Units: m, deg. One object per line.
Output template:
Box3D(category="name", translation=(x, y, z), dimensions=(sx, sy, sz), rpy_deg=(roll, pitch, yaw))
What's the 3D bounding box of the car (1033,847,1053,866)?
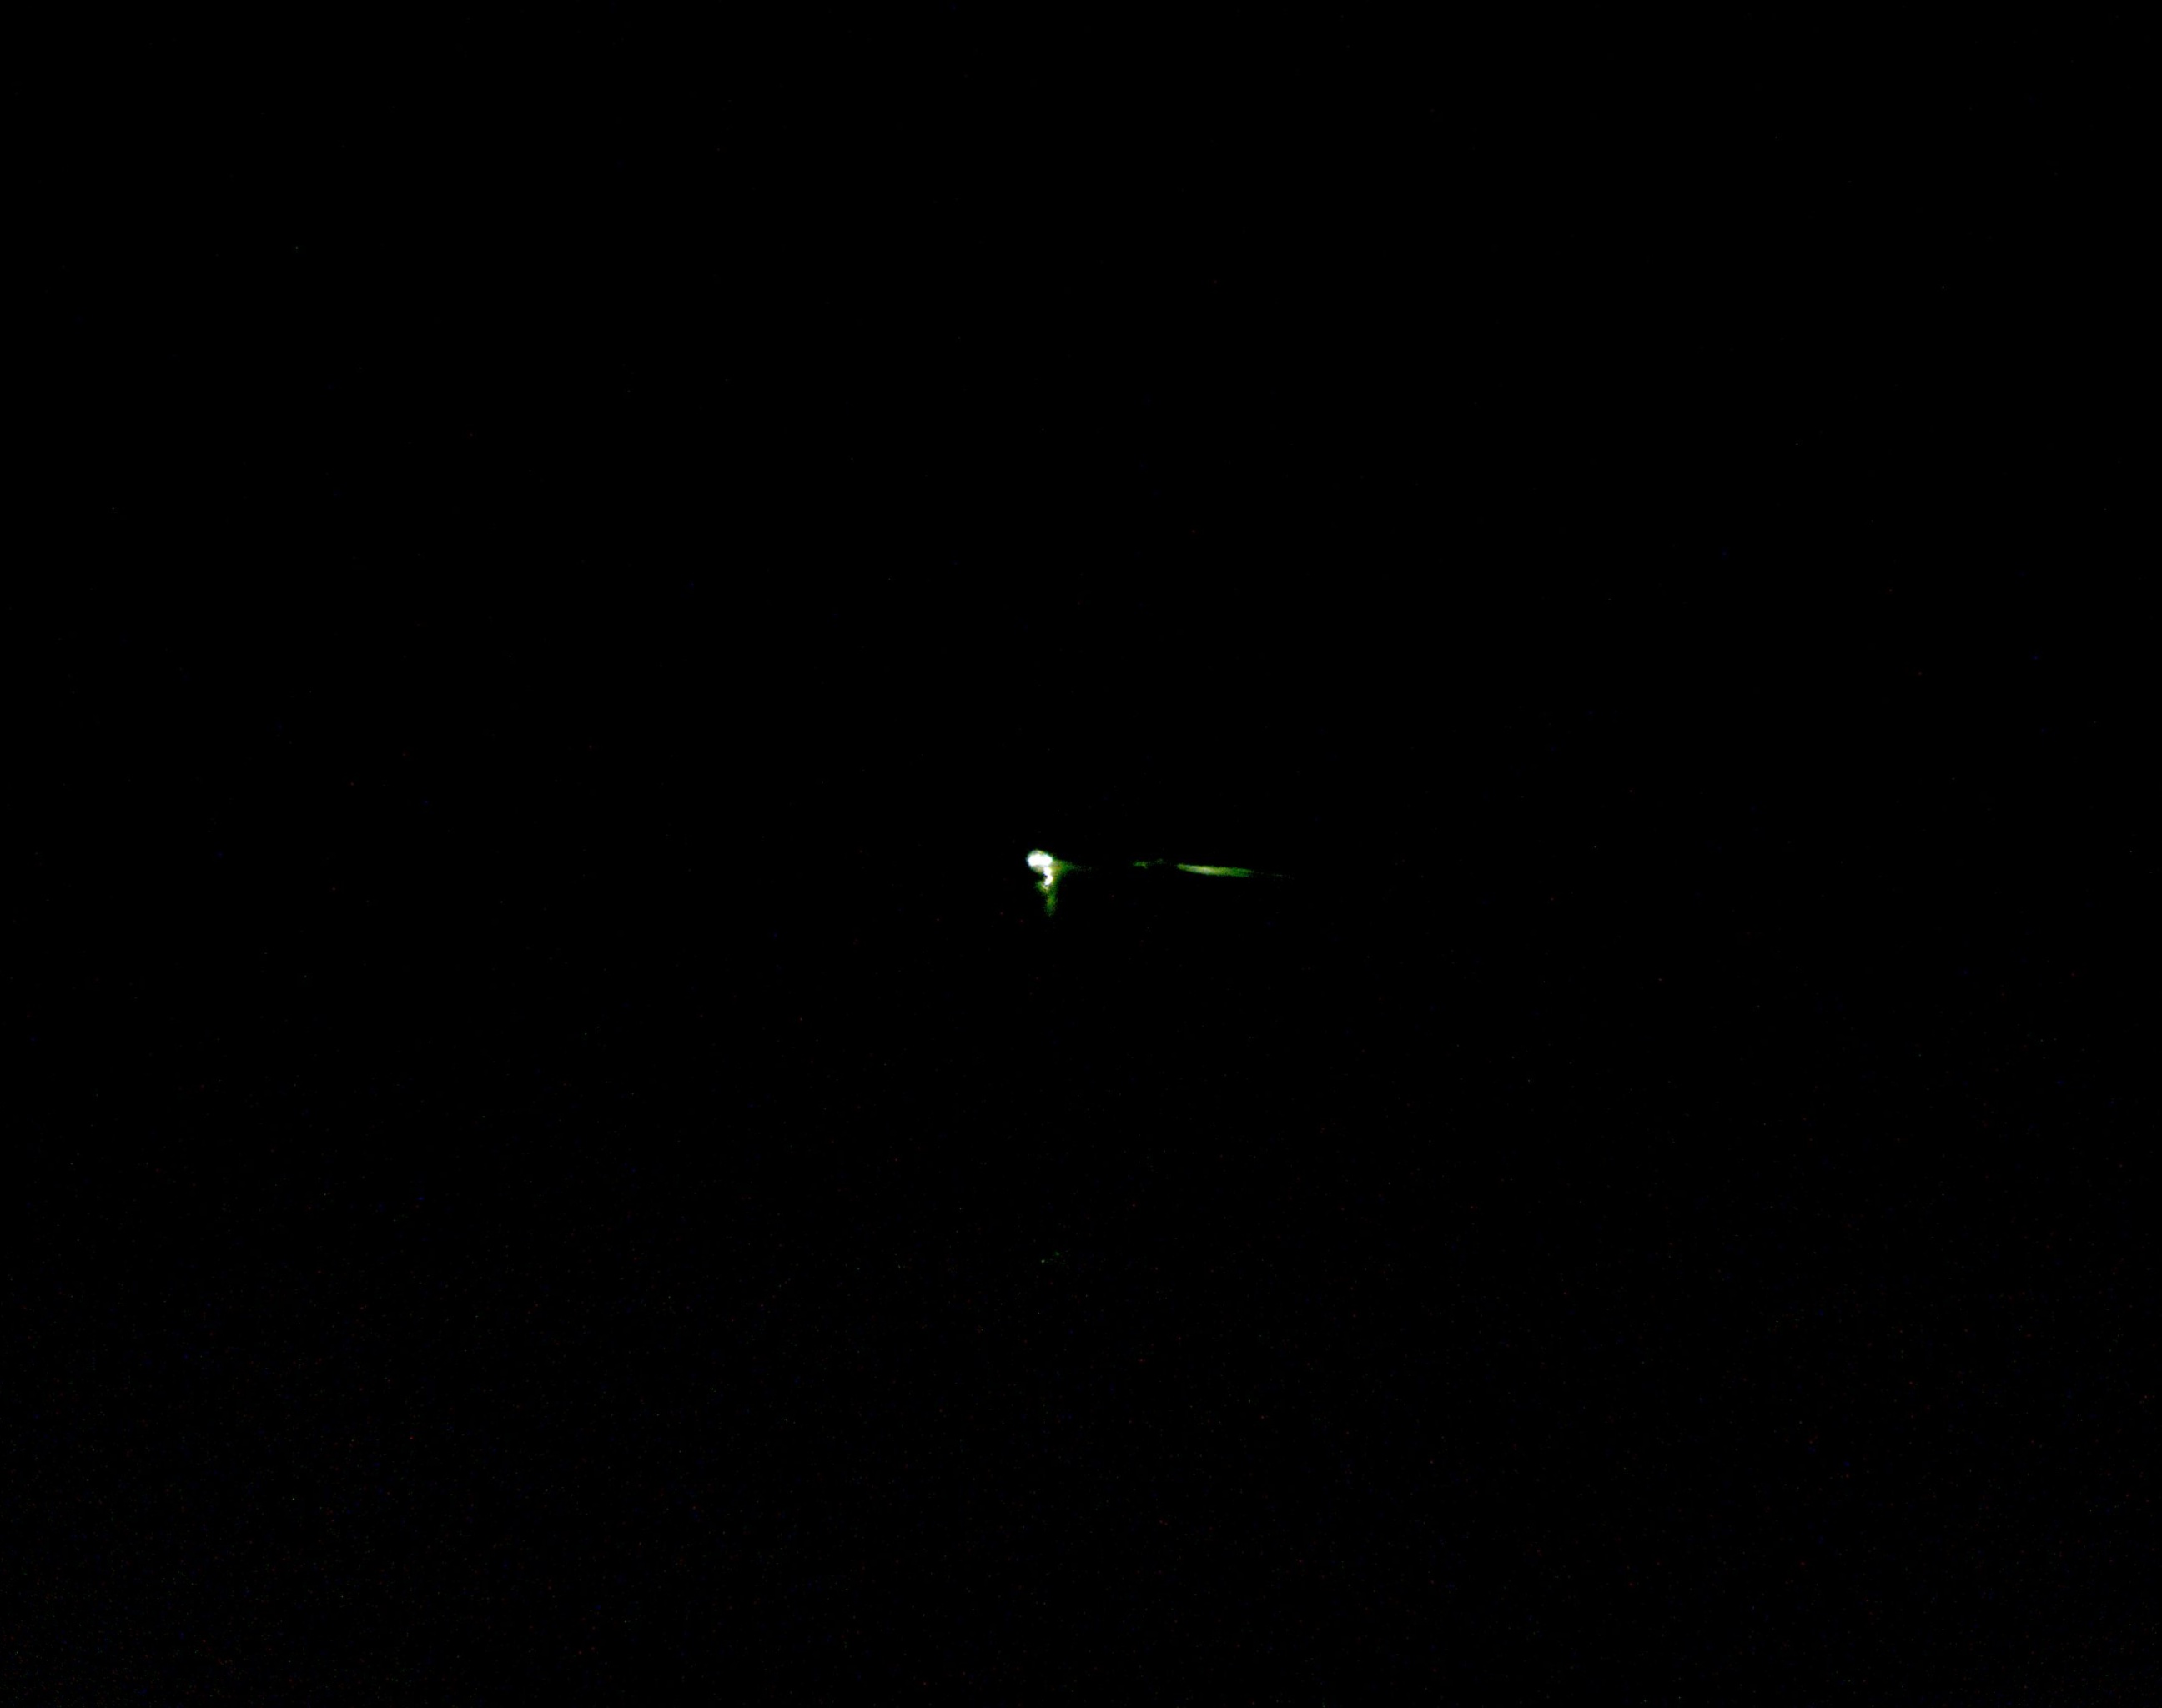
Box3D(category="car", translation=(-4.440, 0.240, 90.189), dimensions=(1.998, 2.003, 3.998), rpy_deg=(-2, 3, 1))
